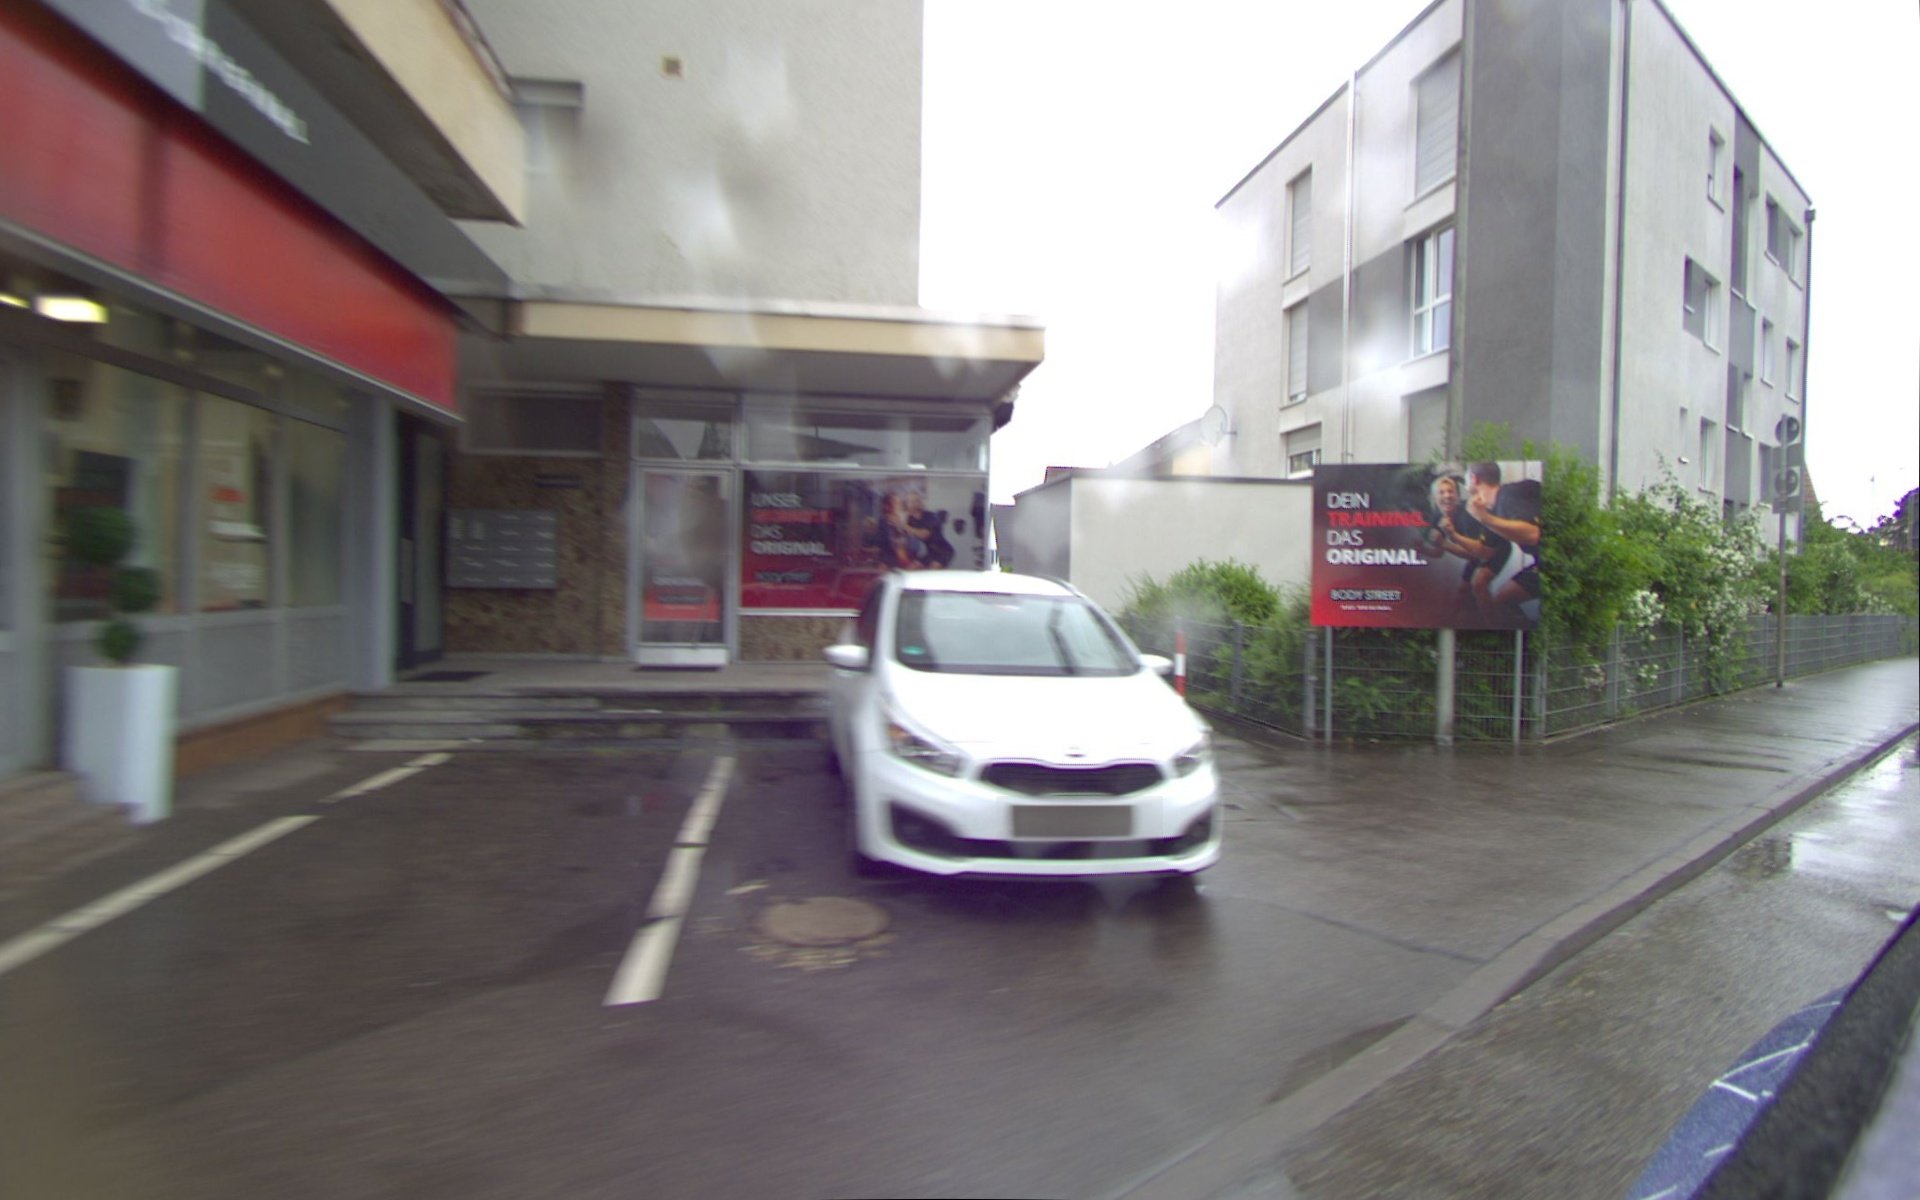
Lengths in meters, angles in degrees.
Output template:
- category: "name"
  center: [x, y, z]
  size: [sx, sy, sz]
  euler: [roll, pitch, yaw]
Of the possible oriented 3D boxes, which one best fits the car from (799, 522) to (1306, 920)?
- category: "car"
  center: [0.084, 0.465, 6.126]
  size: [1.834, 1.513, 4.279]
  euler: [2, 0, -12]
